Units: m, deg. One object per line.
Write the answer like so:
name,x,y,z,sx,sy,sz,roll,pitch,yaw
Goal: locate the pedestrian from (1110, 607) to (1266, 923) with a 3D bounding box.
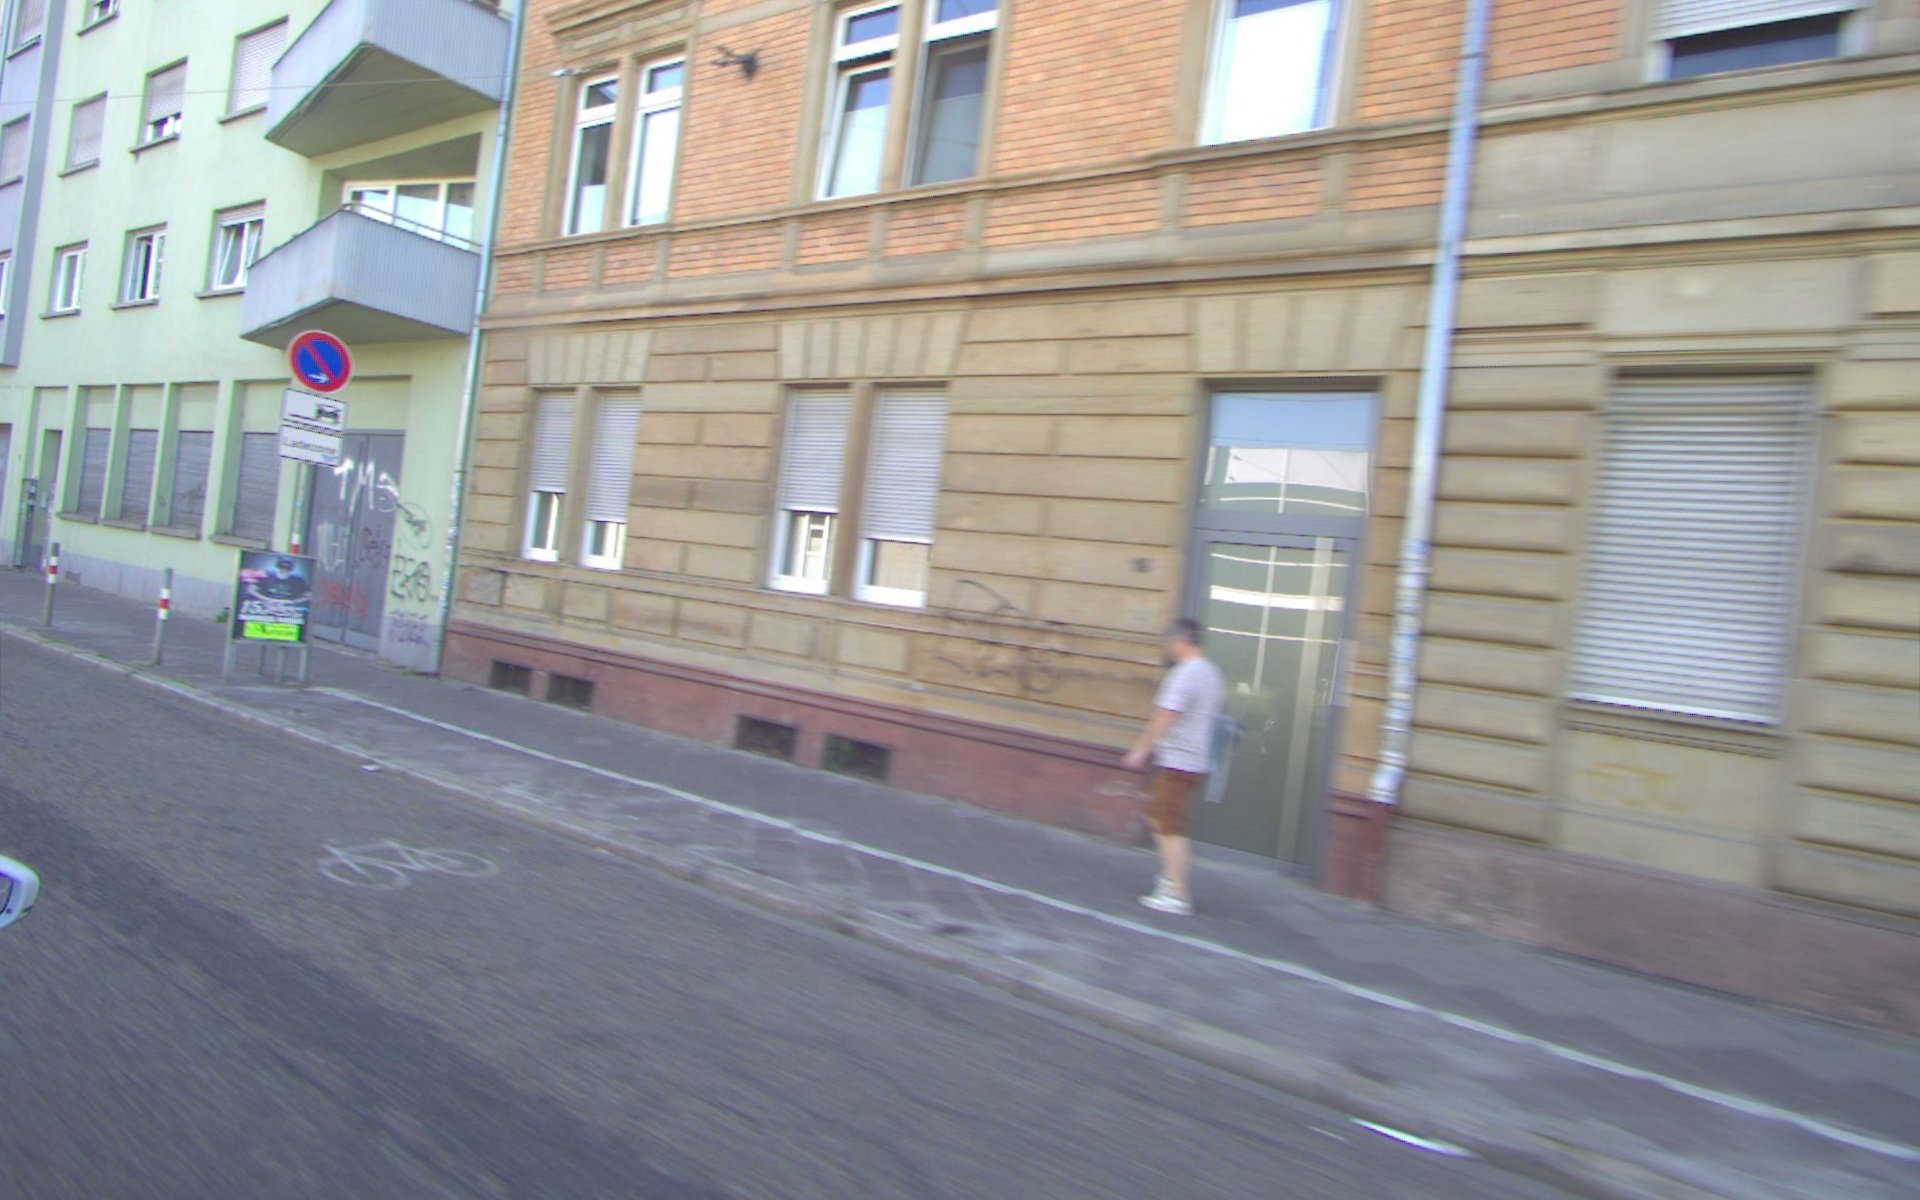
pedestrian,1.308,0.933,5.826,0.547,1.722,0.471,5,1,-22
